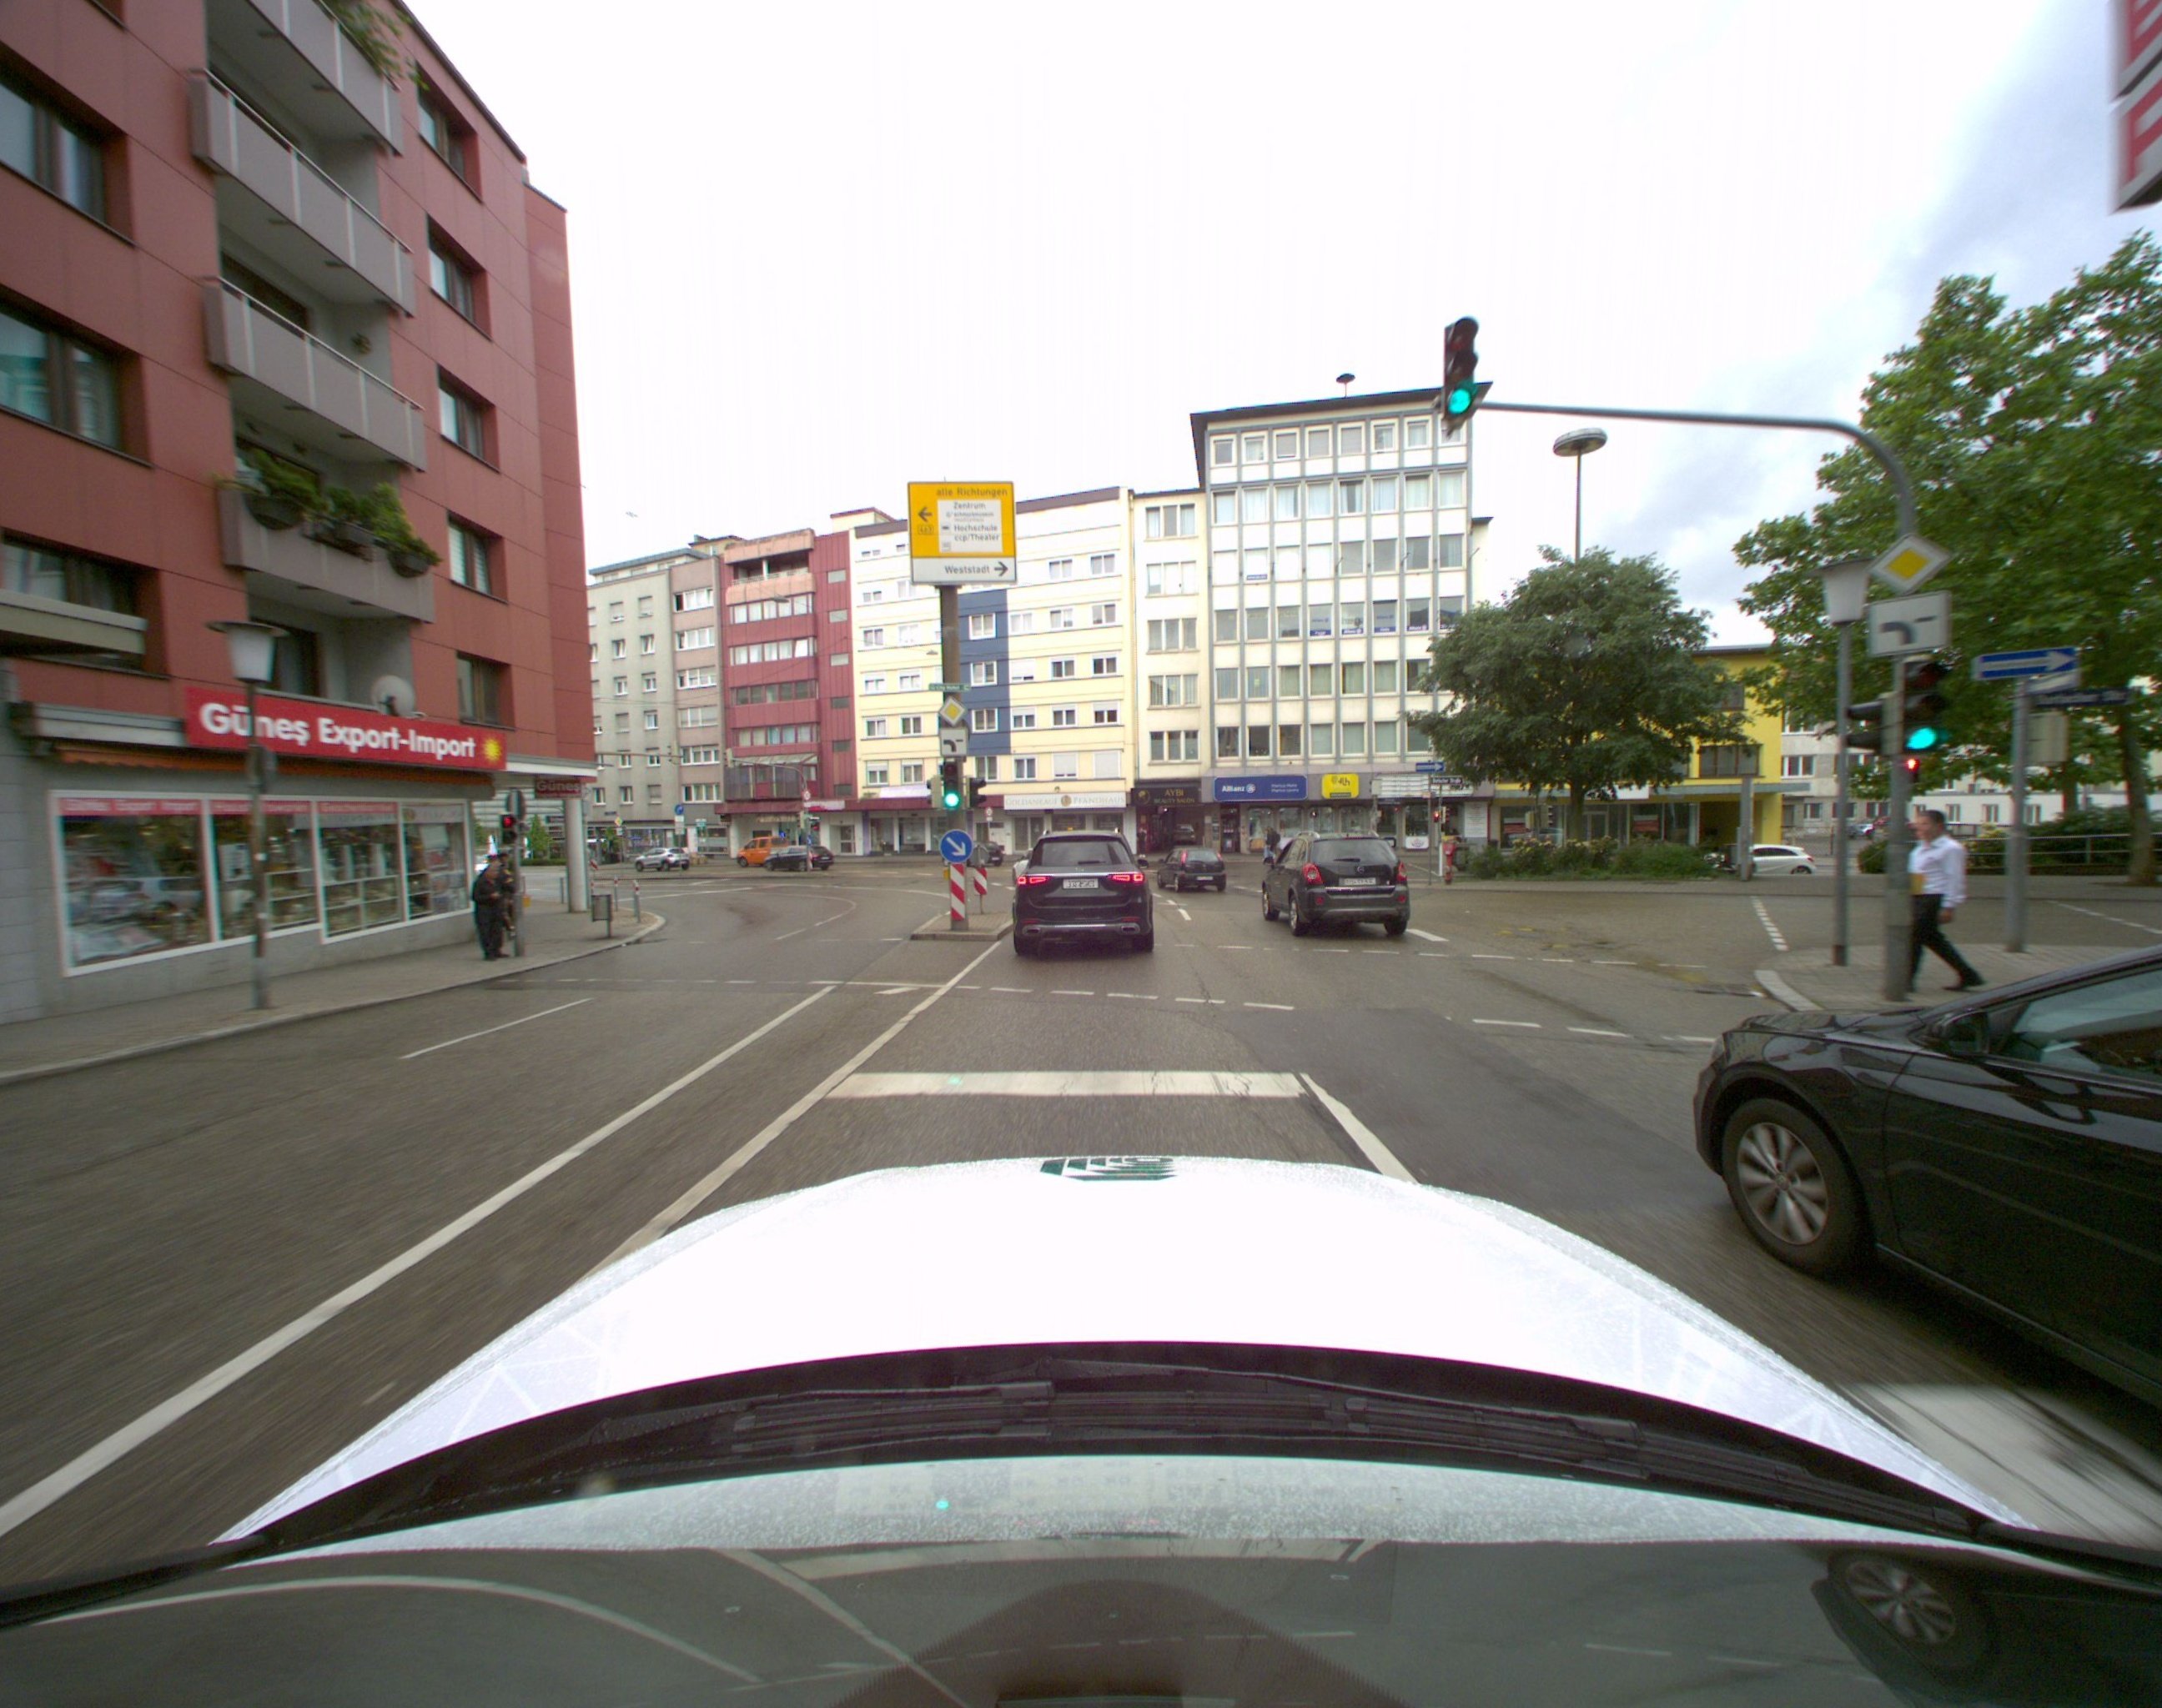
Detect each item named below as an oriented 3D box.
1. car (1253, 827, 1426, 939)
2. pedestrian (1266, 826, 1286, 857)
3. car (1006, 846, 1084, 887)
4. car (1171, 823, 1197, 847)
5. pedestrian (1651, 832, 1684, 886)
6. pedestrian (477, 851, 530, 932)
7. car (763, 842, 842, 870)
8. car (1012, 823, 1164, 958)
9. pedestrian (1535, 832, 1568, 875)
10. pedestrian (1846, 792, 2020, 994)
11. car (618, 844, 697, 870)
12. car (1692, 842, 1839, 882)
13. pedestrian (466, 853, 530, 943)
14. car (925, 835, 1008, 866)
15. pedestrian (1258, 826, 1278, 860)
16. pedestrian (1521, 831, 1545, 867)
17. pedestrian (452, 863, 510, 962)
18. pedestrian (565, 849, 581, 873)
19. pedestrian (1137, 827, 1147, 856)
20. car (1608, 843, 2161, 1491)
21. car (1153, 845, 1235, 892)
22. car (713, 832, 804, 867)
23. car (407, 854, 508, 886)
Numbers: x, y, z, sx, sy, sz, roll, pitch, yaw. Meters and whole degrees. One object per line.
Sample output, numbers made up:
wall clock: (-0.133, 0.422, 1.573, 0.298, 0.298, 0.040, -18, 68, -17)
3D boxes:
car: (4.447, 0.422, 14.779, 1.890, 1.695, 4.509, -1, 1, 3)
pedestrian: (11.230, -0.745, 46.970, 1.025, 1.688, 0.832, -1, 6, 6)
car: (-1.518, 0.451, 32.090, 1.880, 1.495, 4.371, 0, 0, -20)
car: (7.630, -1.369, 60.496, 1.787, 1.670, 4.008, -1, 0, 7)
pedestrian: (20.402, 0.171, 28.324, 0.708, 1.828, 0.681, 2, -3, 11)
pedestrian: (-13.488, 0.859, 19.027, 0.714, 1.831, 0.835, -1, 0, 42)
car: (-15.985, 0.121, 46.718, 4.182, 1.486, 2.013, -2, 0, 30)
car: (-0.038, 0.482, 13.244, 2.034, 1.799, 4.657, 0, 0, -4)
pedestrian: (20.347, -0.045, 35.251, 0.821, 1.827, 0.890, 1, 1, -4)
pedestrian: (8.227, 0.358, 7.904, 0.721, 1.818, 0.827, -3, -1, -9)
car: (-27.075, 0.194, 52.091, 4.606, 1.515, 1.941, 1, -2, 24)
car: (27.641, 0.280, 33.034, 4.159, 1.412, 1.836, 0, 5, 12)
pedestrian: (-12.286, 0.903, 17.187, 0.759, 1.848, 0.842, -1, 0, -6)
car: (-6.447, -0.191, 45.828, 4.438, 1.658, 1.840, 0, -1, 30)
pedestrian: (10.472, -0.607, 45.601, 1.024, 1.798, 0.832, -1, 6, 6)
pedestrian: (24.133, -0.268, 43.513, 0.891, 1.827, 0.675, 3, -2, -19)
pedestrian: (-10.624, 1.018, 14.438, 0.553, 1.697, 0.622, -1, 0, -6)
pedestrian: (-43.296, 0.567, 69.376, 0.810, 2.013, 0.853, -1, 0, -5)
pedestrian: (3.706, -0.753, 49.133, 0.561, 1.688, 0.757, -1, 6, 4)
car: (3.315, 0.711, 1.930, 1.681, 1.477, 4.003, -1, 0, 3)
car: (3.706, 0.456, 27.496, 1.765, 1.397, 3.990, -2, 0, -7)
car: (-21.187, -0.300, 53.592, 5.365, 2.228, 2.261, 0, 0, 20)
car: (-33.414, 0.859, 43.667, 4.681, 1.556, 2.010, -1, 2, 19)
